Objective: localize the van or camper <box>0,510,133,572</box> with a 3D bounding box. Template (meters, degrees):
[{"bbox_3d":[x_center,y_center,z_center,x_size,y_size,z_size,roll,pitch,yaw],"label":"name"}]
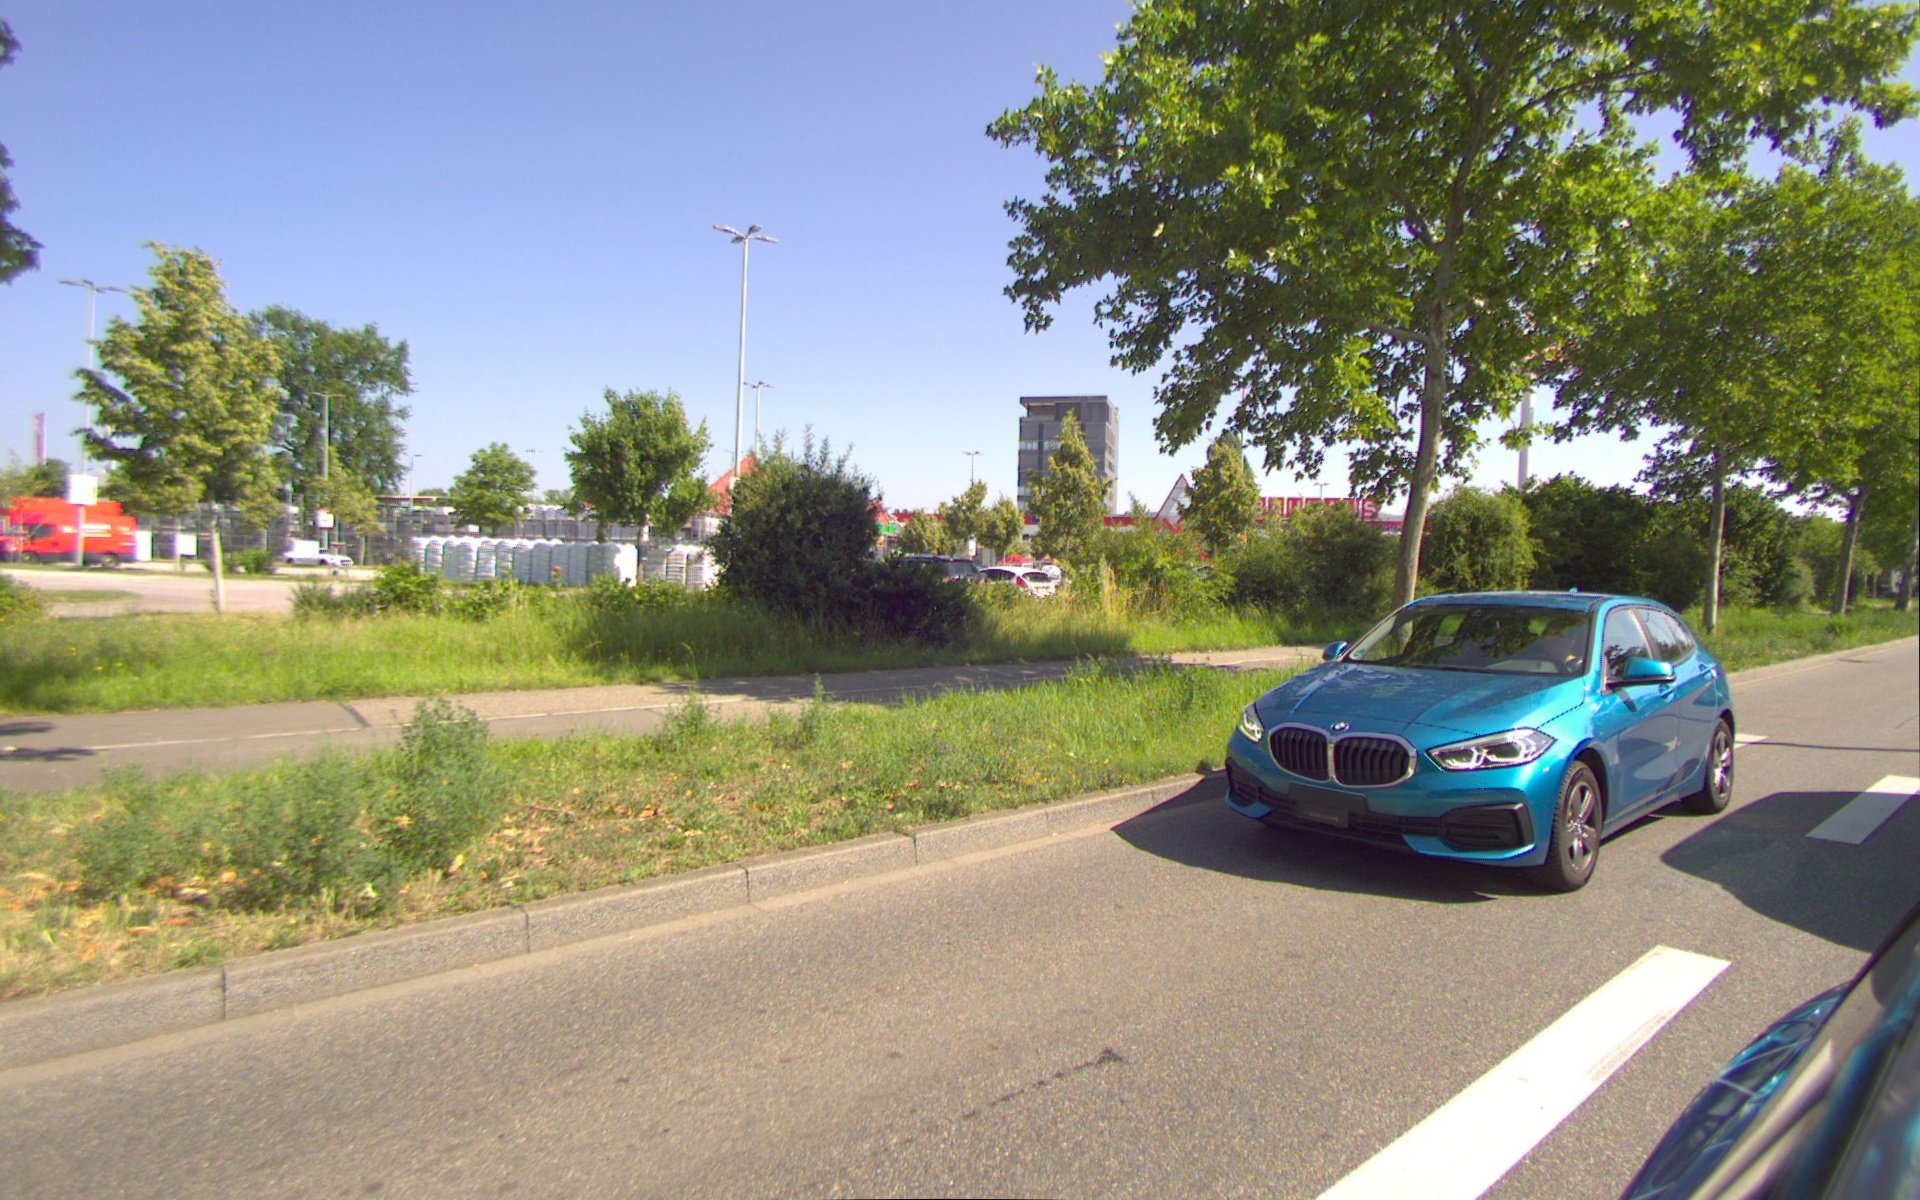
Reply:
[{"bbox_3d":[-44.009,-2.774,48.340,1.971,2.738,7.256,-1,1,14],"label":"van or camper"}]

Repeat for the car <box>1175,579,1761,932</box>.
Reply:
[{"bbox_3d":[3.337,0.611,6.289,4.059,1.437,1.871,-1,2,-42],"label":"car"}]

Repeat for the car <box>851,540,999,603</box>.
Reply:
[{"bbox_3d":[-1.031,-0.758,28.085,1.850,1.611,4.074,-1,1,-44],"label":"car"}]

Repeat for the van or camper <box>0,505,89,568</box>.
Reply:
[{"bbox_3d":[-47.457,-3.142,49.715,1.971,2.979,7.256,-1,1,14],"label":"van or camper"}]

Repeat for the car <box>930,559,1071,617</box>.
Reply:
[{"bbox_3d":[1.144,-0.354,30.061,1.850,1.611,4.074,-1,1,-44],"label":"car"}]
